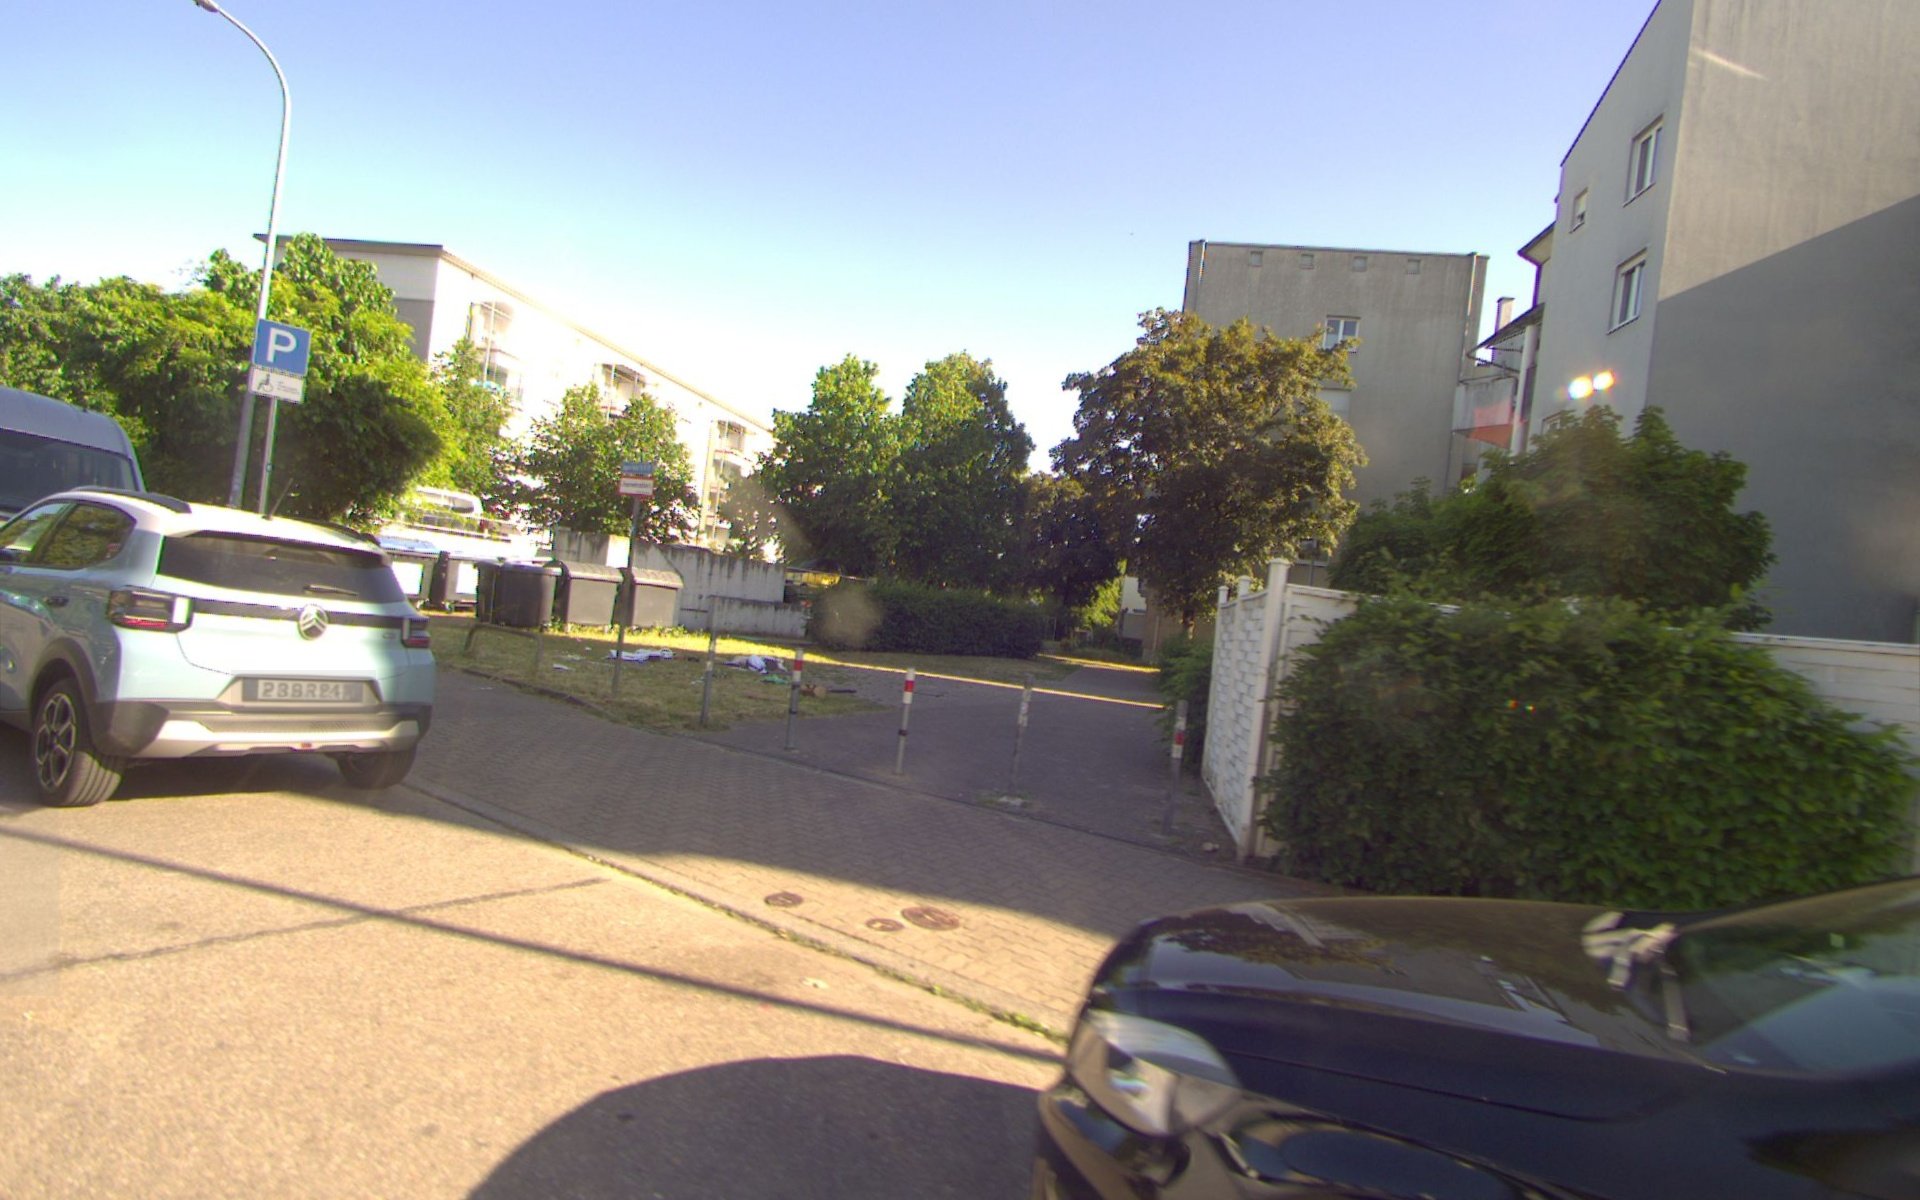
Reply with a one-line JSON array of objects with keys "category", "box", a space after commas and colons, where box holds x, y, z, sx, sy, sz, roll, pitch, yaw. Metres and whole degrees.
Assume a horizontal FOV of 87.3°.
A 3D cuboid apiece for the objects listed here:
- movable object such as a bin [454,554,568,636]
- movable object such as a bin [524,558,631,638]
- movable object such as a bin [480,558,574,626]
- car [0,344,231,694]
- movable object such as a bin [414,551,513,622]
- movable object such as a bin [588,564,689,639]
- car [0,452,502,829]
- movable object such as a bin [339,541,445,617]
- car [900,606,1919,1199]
[{"category": "movable object such as a bin", "box": [-8.449, -0.091, 18.936, 1.362, 1.321, 1.411, 7, 0, 39]}, {"category": "movable object such as a bin", "box": [-7.655, -0.038, 20.149, 1.362, 1.391, 1.425, 7, 1, 39]}, {"category": "movable object such as a bin", "box": [-9.861, -0.182, 22.910, 1.362, 1.321, 1.411, 7, 0, 39]}, {"category": "car", "box": [-9.266, -0.836, 9.278, 5.763, 2.515, 2.107, 7, -2, 35]}, {"category": "movable object such as a bin", "box": [-10.743, -0.290, 21.774, 1.362, 1.321, 1.411, 7, 0, 39]}, {"category": "movable object such as a bin", "box": [-6.825, 0.035, 21.360, 1.362, 1.391, 1.425, 7, 1, 39]}, {"category": "car", "box": [-5.210, 0.068, 6.498, 4.303, 1.686, 1.912, 7, -1, 32]}, {"category": "movable object such as a bin", "box": [-11.646, -0.424, 20.644, 1.362, 1.321, 1.411, 7, 0, 39]}, {"category": "car", "box": [2.233, 1.045, 1.704, 4.303, 1.506, 1.912, 7, -1, 32]}]
